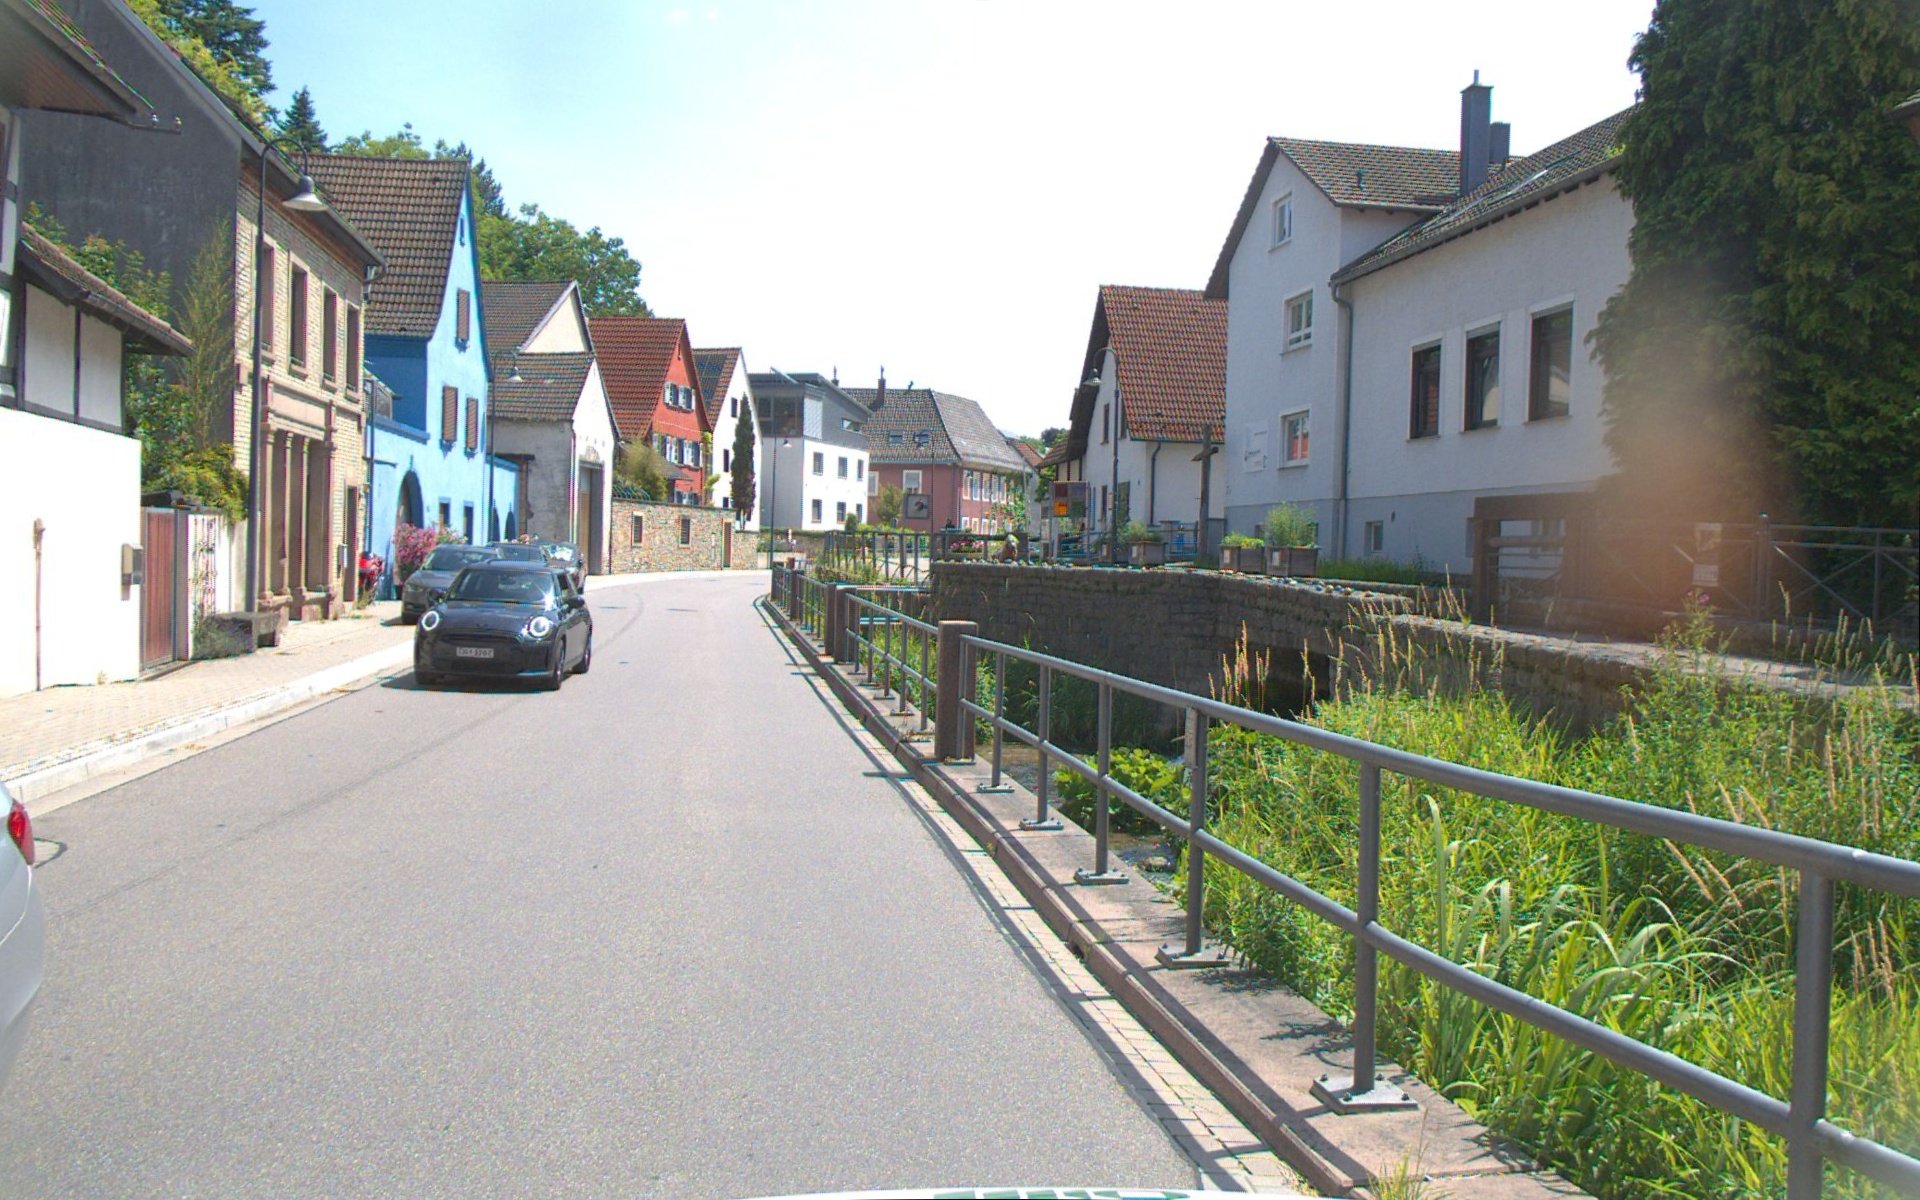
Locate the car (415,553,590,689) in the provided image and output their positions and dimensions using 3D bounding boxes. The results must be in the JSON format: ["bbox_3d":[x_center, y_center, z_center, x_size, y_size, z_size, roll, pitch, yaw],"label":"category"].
[{"bbox_3d":[-5.674,0.203,20.943,1.668,1.491,4.425,2,1,-10],"label":"car"}]

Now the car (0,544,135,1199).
[{"bbox_3d":[-2.814,0.667,1.832,1.858,1.526,4.609,0,1,-6],"label":"car"}]

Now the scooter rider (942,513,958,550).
[{"bbox_3d":[-0.478,-3.284,79.467,0.629,1.761,0.553,2,1,-9],"label":"scooter rider"}]

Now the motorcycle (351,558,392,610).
[{"bbox_3d":[-12.291,-0.350,34.581,0.410,1.018,1.854,6,0,-10],"label":"motorcycle"}]

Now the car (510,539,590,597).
[{"bbox_3d":[-11.594,-0.934,46.969,1.684,1.556,3.852,1,2,-6],"label":"car"}]

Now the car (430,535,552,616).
[{"bbox_3d":[-10.328,-0.591,36.720,1.850,1.489,4.662,5,2,-8],"label":"car"}]

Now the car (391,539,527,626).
[{"bbox_3d":[-9.525,-0.365,31.778,1.921,1.491,4.535,2,1,-10],"label":"car"}]

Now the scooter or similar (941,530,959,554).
[{"bbox_3d":[-0.468,-2.786,79.445,0.629,1.162,1.808,0,2,-8],"label":"scooter or similar"}]
